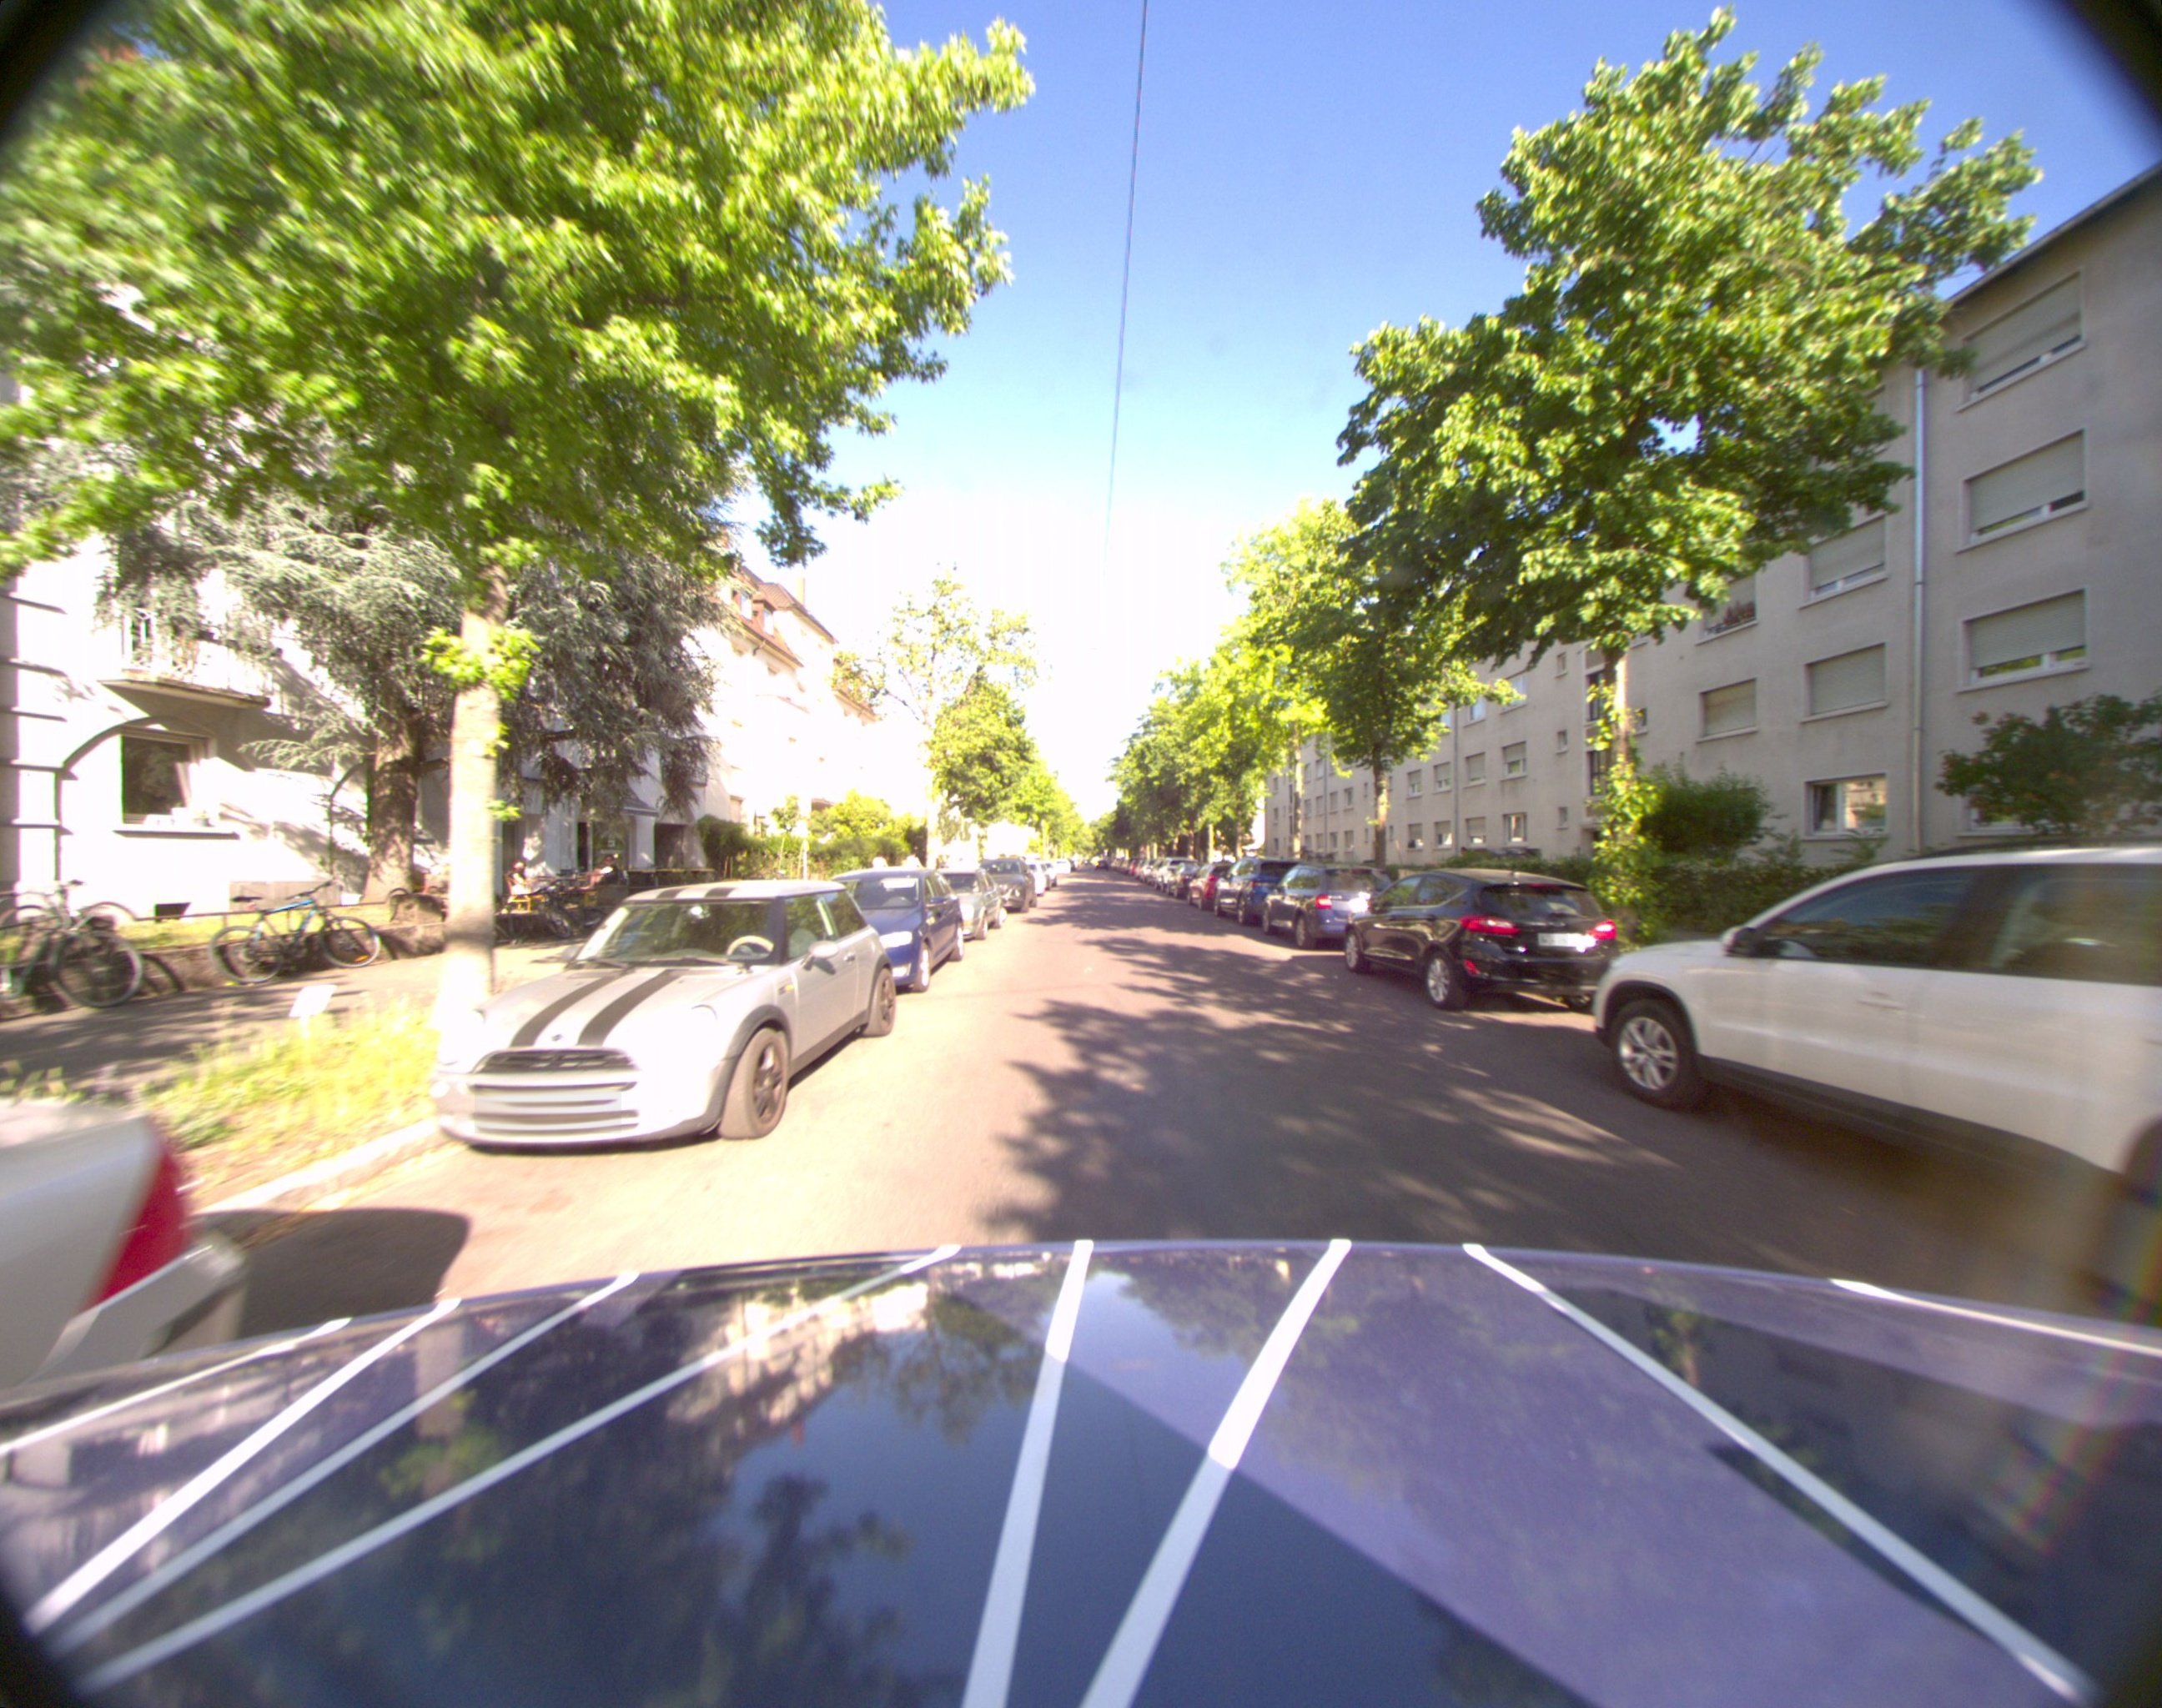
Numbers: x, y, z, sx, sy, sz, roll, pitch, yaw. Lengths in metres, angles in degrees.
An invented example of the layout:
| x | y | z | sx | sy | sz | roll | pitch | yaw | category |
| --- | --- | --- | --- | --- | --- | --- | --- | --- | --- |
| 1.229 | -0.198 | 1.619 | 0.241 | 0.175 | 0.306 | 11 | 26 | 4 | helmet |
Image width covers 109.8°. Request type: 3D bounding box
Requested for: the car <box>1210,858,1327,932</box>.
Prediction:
| x | y | z | sx | sy | sz | roll | pitch | yaw | category |
| --- | --- | --- | --- | --- | --- | --- | --- | --- | --- |
| 4.475 | 0.904 | 18.817 | 1.820 | 1.576 | 4.408 | 1 | 0 | 0 | car |

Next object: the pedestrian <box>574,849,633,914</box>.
| x | y | z | sx | sy | sz | roll | pitch | yaw | category |
| --- | --- | --- | --- | --- | --- | --- | --- | --- | --- |
| -10.334 | 0.573 | 16.447 | 1.038 | 1.370 | 0.714 | 0 | 1 | -35 | pedestrian |

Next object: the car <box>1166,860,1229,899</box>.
| x | y | z | sx | sy | sz | roll | pitch | yaw | category |
| --- | --- | --- | --- | --- | --- | --- | --- | --- | --- |
| 4.594 | 0.967 | 30.446 | 1.879 | 1.367 | 4.183 | 1 | 1 | 0 | car |

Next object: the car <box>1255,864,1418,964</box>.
| x | y | z | sx | sy | sz | roll | pitch | yaw | category |
| --- | --- | --- | --- | --- | --- | --- | --- | --- | --- |
| 4.459 | 0.971 | 13.900 | 1.653 | 1.437 | 3.966 | 1 | 1 | 0 | car |

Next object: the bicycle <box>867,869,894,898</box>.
| x | y | z | sx | sy | sz | roll | pitch | yaw | category |
| --- | --- | --- | --- | --- | --- | --- | --- | --- | --- |
| -7.324 | 1.059 | 27.828 | 0.459 | 0.956 | 1.787 | 1 | 1 | 1 | bicycle |

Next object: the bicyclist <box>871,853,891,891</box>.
| x | y | z | sx | sy | sz | roll | pitch | yaw | category |
| --- | --- | --- | --- | --- | --- | --- | --- | --- | --- |
| -7.343 | 0.653 | 27.896 | 0.497 | 1.331 | 0.719 | 1 | 1 | 1 | bicyclist |

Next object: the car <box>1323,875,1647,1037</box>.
| x | y | z | sx | sy | sz | roll | pitch | yaw | category |
| --- | --- | --- | --- | --- | --- | --- | --- | --- | --- |
| 4.403 | 1.002 | 9.139 | 1.662 | 1.384 | 4.237 | 0 | 0 | 0 | car |

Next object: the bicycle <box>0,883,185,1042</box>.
| x | y | z | sx | sy | sz | roll | pitch | yaw | category |
| --- | --- | --- | --- | --- | --- | --- | --- | --- | --- |
| -8.787 | 0.894 | 6.123 | 0.490 | 1.190 | 2.175 | -2 | 1 | 0 | bicycle |

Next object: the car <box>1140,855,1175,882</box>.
| x | y | z | sx | sy | sz | roll | pitch | yaw | category |
| --- | --- | --- | --- | --- | --- | --- | --- | --- | --- |
| 4.780 | 0.861 | 47.770 | 1.768 | 1.487 | 4.015 | -2 | 1 | 0 | car |

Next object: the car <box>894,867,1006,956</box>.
| x | y | z | sx | sy | sz | roll | pitch | yaw | category |
| --- | --- | --- | --- | --- | --- | --- | --- | --- | --- |
| -2.534 | 1.064 | 15.542 | 1.609 | 1.415 | 4.014 | -2 | 1 | -1 | car |

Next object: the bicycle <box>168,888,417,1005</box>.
| x | y | z | sx | sy | sz | roll | pitch | yaw | category |
| --- | --- | --- | --- | --- | --- | --- | --- | --- | --- |
| -8.833 | 0.977 | 8.693 | 0.433 | 1.006 | 2.248 | -6 | 1 | -1 | bicycle |

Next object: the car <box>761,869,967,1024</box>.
| x | y | z | sx | sy | sz | roll | pitch | yaw | category |
| --- | --- | --- | --- | --- | --- | --- | --- | --- | --- |
| -2.568 | 1.008 | 9.930 | 1.609 | 1.455 | 3.870 | -2 | 1 | -1 | car |

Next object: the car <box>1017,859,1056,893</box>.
| x | y | z | sx | sy | sz | roll | pitch | yaw | category |
| --- | --- | --- | --- | --- | --- | --- | --- | --- | --- |
| -2.211 | 1.044 | 38.340 | 1.769 | 1.487 | 4.014 | -2 | 1 | -1 | car |

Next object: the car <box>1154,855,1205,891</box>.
| x | y | z | sx | sy | sz | roll | pitch | yaw | category |
| --- | --- | --- | --- | --- | --- | --- | --- | --- | --- |
| 4.591 | 0.845 | 36.083 | 1.879 | 1.553 | 4.183 | 1 | 1 | 0 | car |

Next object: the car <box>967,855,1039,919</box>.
| x | y | z | sx | sy | sz | roll | pitch | yaw | category |
| --- | --- | --- | --- | --- | --- | --- | --- | --- | --- |
| -2.237 | 0.896 | 22.689 | 1.769 | 1.627 | 4.014 | -2 | 1 | -1 | car |

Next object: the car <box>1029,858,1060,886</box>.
| x | y | z | sx | sy | sz | roll | pitch | yaw | category |
| --- | --- | --- | --- | --- | --- | --- | --- | --- | --- |
| -2.012 | 0.985 | 42.937 | 1.609 | 1.402 | 3.669 | -2 | 1 | -1 | car |

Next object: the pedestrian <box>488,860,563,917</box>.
| x | y | z | sx | sy | sz | roll | pitch | yaw | category |
| --- | --- | --- | --- | --- | --- | --- | --- | --- | --- |
| -11.801 | 0.723 | 16.169 | 1.036 | 1.136 | 0.716 | -2 | 1 | -5 | pedestrian |

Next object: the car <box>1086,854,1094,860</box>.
| x | y | z | sx | sy | sz | roll | pitch | yaw | category |
| --- | --- | --- | --- | --- | --- | --- | --- | --- | --- |
| 2.178 | 0.848 | 188.817 | 1.769 | 1.486 | 3.783 | 0 | 0 | -1 | car |

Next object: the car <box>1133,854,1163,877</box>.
| x | y | z | sx | sy | sz | roll | pitch | yaw | category |
| --- | --- | --- | --- | --- | --- | --- | --- | --- | --- |
| 4.867 | 0.817 | 55.417 | 1.768 | 1.487 | 4.015 | -2 | 1 | 0 | car |

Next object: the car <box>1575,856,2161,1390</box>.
| x | y | z | sx | sy | sz | roll | pitch | yaw | category |
| --- | --- | --- | --- | --- | --- | --- | --- | --- | --- |
| 4.344 | 0.889 | 3.239 | 1.707 | 1.670 | 4.223 | 1 | 1 | 0 | car |

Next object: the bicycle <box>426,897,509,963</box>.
| x | y | z | sx | sy | sz | roll | pitch | yaw | category |
| --- | --- | --- | --- | --- | --- | --- | --- | --- | --- |
| -8.819 | 1.076 | 10.958 | 0.331 | 0.845 | 1.050 | 0 | 0 | 1 | bicycle |

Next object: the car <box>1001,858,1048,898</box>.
| x | y | z | sx | sy | sz | roll | pitch | yaw | category |
| --- | --- | --- | --- | --- | --- | --- | --- | --- | --- |
| -2.377 | 0.976 | 32.835 | 1.769 | 1.487 | 3.932 | -2 | 1 | -1 | car |

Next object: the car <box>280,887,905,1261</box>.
| x | y | z | sx | sy | sz | roll | pitch | yaw | category |
| --- | --- | --- | --- | --- | --- | --- | --- | --- | --- |
| -2.576 | 1.051 | 5.186 | 1.768 | 1.389 | 3.695 | -2 | 1 | 1 | car |

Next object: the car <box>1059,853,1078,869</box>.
| x | y | z | sx | sy | sz | roll | pitch | yaw | category |
| --- | --- | --- | --- | --- | --- | --- | --- | --- | --- |
| -1.295 | 0.701 | 79.191 | 1.891 | 1.624 | 3.888 | 0 | 0 | 1 | car |

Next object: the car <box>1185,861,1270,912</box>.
| x | y | z | sx | sy | sz | roll | pitch | yaw | category |
| --- | --- | --- | --- | --- | --- | --- | --- | --- | --- |
| 4.481 | 0.962 | 23.893 | 1.879 | 1.367 | 4.068 | 1 | 1 | 0 | car |
